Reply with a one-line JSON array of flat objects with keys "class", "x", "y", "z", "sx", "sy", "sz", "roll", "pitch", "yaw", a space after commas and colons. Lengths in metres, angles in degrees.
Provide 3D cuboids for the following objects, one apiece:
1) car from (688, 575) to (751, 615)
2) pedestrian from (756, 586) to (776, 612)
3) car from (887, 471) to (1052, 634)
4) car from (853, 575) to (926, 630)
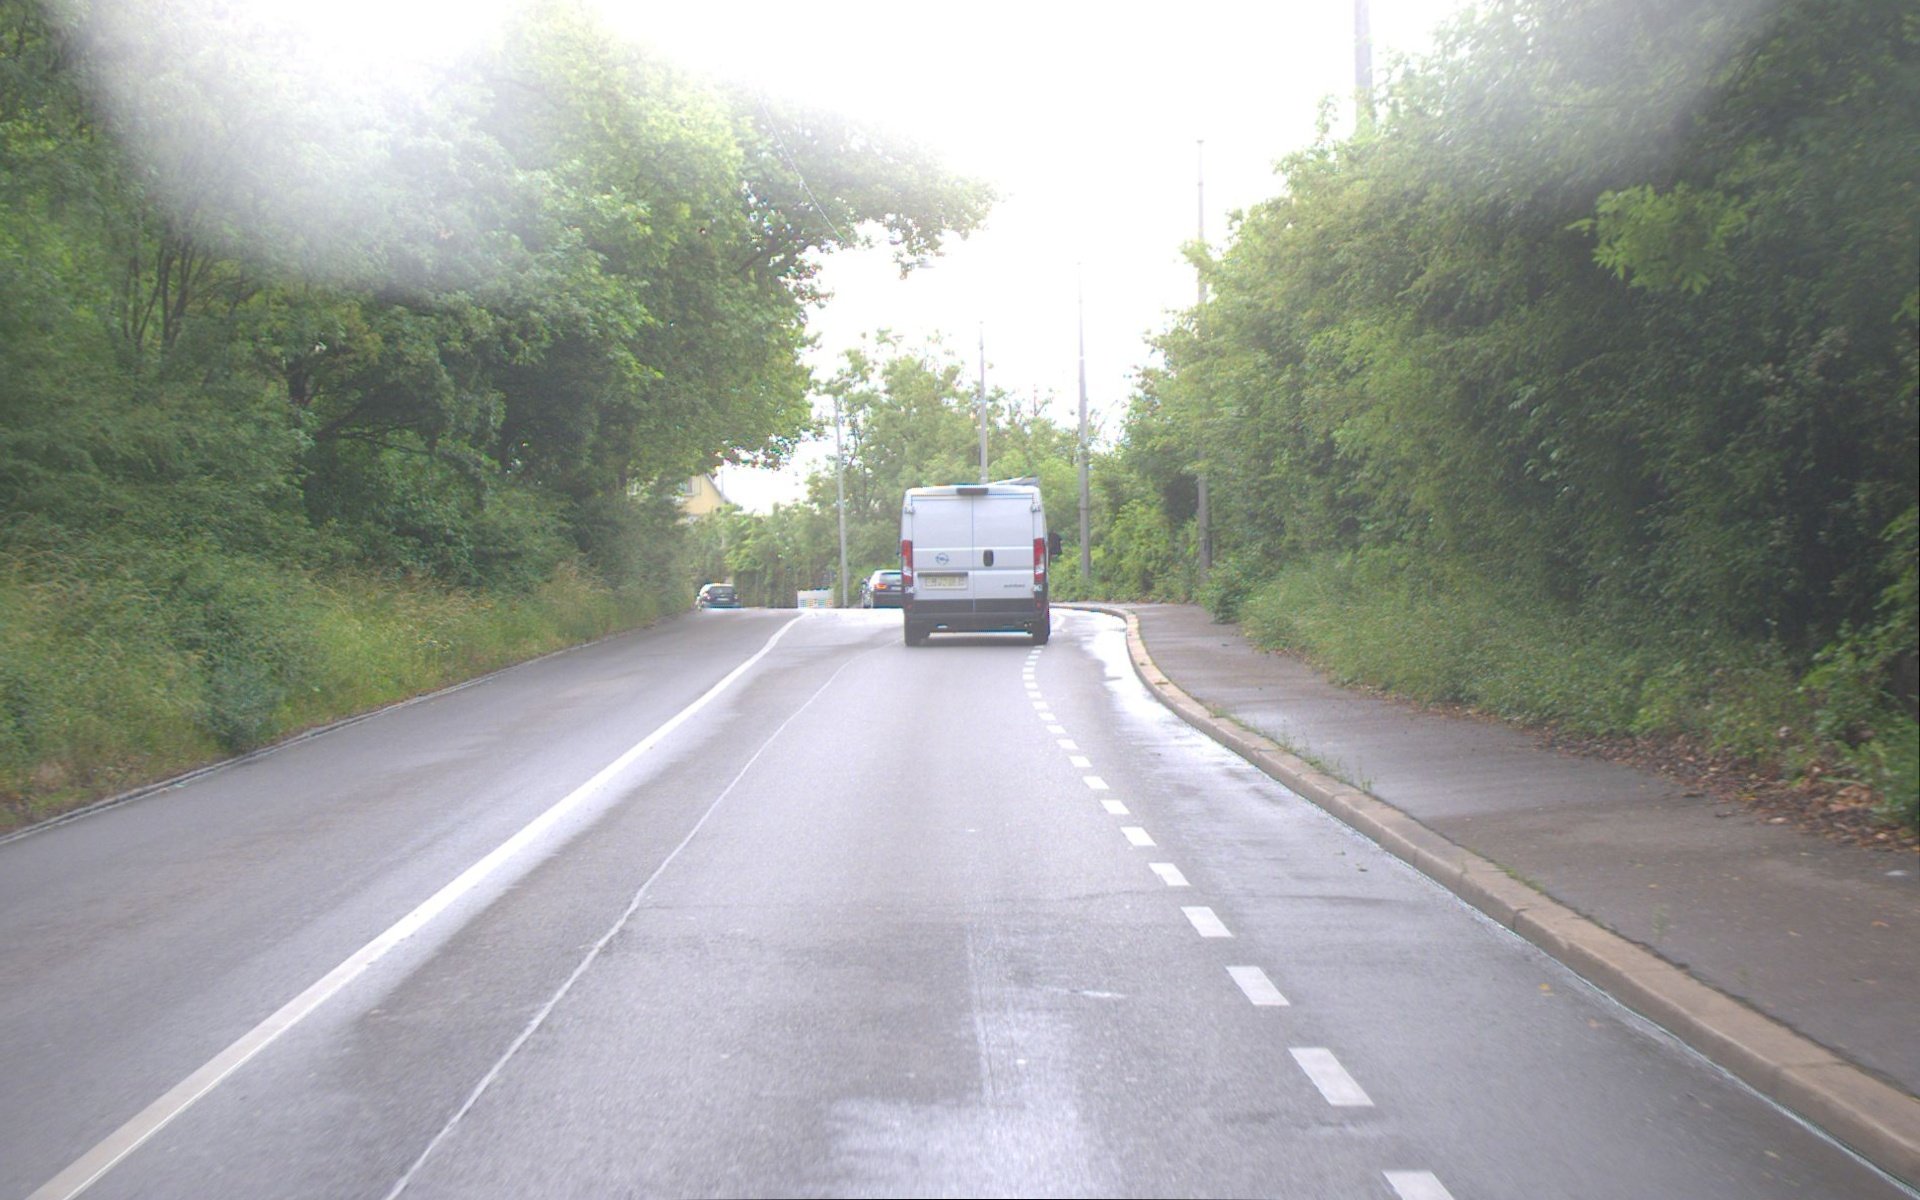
[{"class": "car", "x": -10.993, "y": -0.227, "z": 156.703, "sx": 2.110, "sy": 1.705, "sz": 4.715, "roll": 1, "pitch": 1, "yaw": -13}, {"class": "pedestrian", "x": -10.222, "y": -0.052, "z": 181.082, "sx": 0.878, "sy": 1.363, "sz": 1.066, "roll": 1, "pitch": 1, "yaw": -12}, {"class": "car", "x": 0.088, "y": -0.684, "z": 49.652, "sx": 2.237, "sy": 2.205, "sz": 4.714, "roll": 1, "pitch": 1, "yaw": -1}, {"class": "car", "x": -2.419, "y": 0.079, "z": 119.133, "sx": 2.237, "sy": 1.798, "sz": 4.713, "roll": 1, "pitch": 1, "yaw": 2}]
